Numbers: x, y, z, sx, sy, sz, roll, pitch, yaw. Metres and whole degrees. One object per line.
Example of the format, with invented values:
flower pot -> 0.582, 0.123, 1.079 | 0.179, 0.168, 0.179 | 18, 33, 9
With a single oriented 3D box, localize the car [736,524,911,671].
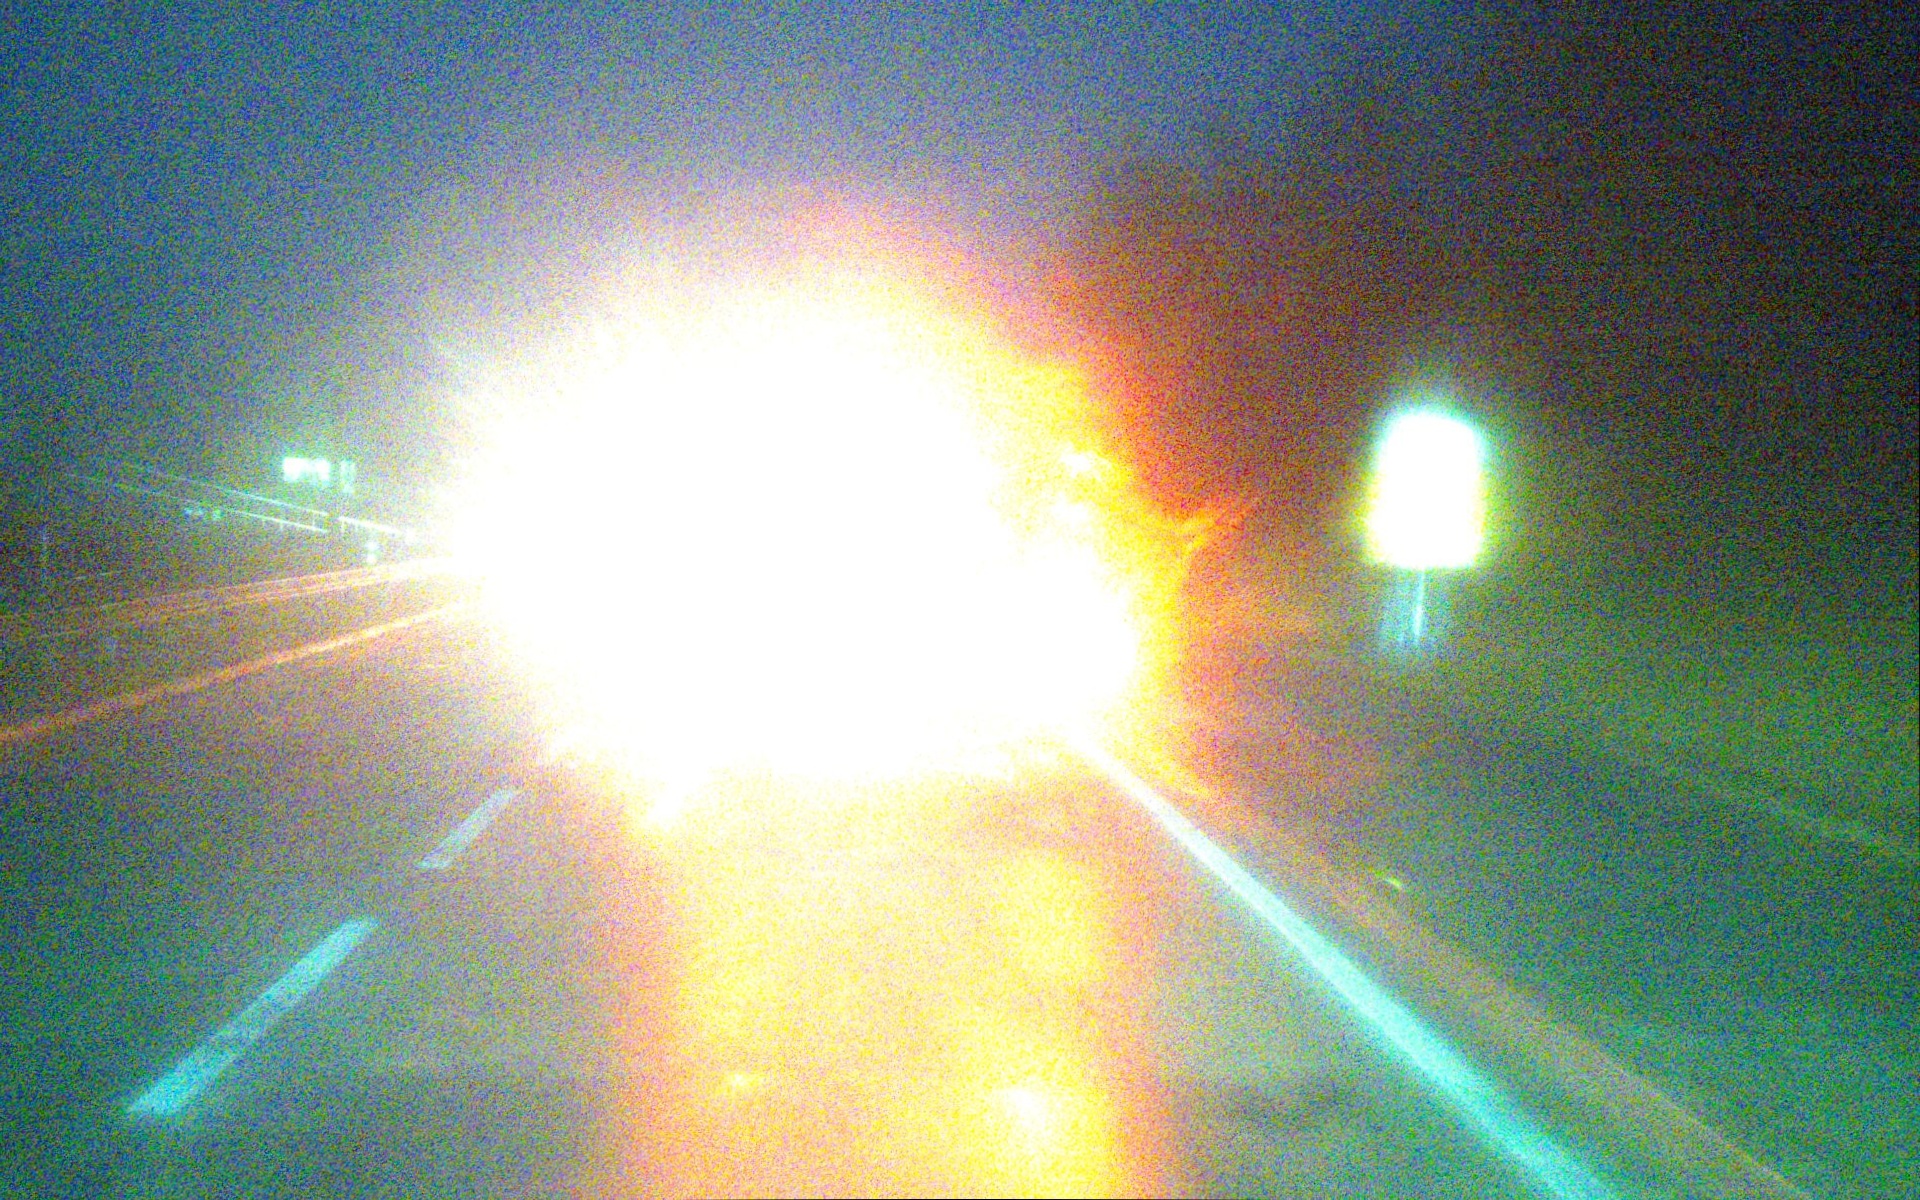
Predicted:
car -> -1.616, -0.076, 39.508 | 1.879, 1.575, 4.785 | 0, 1, -3

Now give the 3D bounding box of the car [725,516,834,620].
car -> -3.445, -0.642, 65.909 | 1.993, 1.908, 4.001 | -1, 1, -2

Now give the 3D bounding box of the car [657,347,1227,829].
car -> -0.189, -0.130, 19.471 | 2.715, 2.299, 6.101 | 0, 1, -2
